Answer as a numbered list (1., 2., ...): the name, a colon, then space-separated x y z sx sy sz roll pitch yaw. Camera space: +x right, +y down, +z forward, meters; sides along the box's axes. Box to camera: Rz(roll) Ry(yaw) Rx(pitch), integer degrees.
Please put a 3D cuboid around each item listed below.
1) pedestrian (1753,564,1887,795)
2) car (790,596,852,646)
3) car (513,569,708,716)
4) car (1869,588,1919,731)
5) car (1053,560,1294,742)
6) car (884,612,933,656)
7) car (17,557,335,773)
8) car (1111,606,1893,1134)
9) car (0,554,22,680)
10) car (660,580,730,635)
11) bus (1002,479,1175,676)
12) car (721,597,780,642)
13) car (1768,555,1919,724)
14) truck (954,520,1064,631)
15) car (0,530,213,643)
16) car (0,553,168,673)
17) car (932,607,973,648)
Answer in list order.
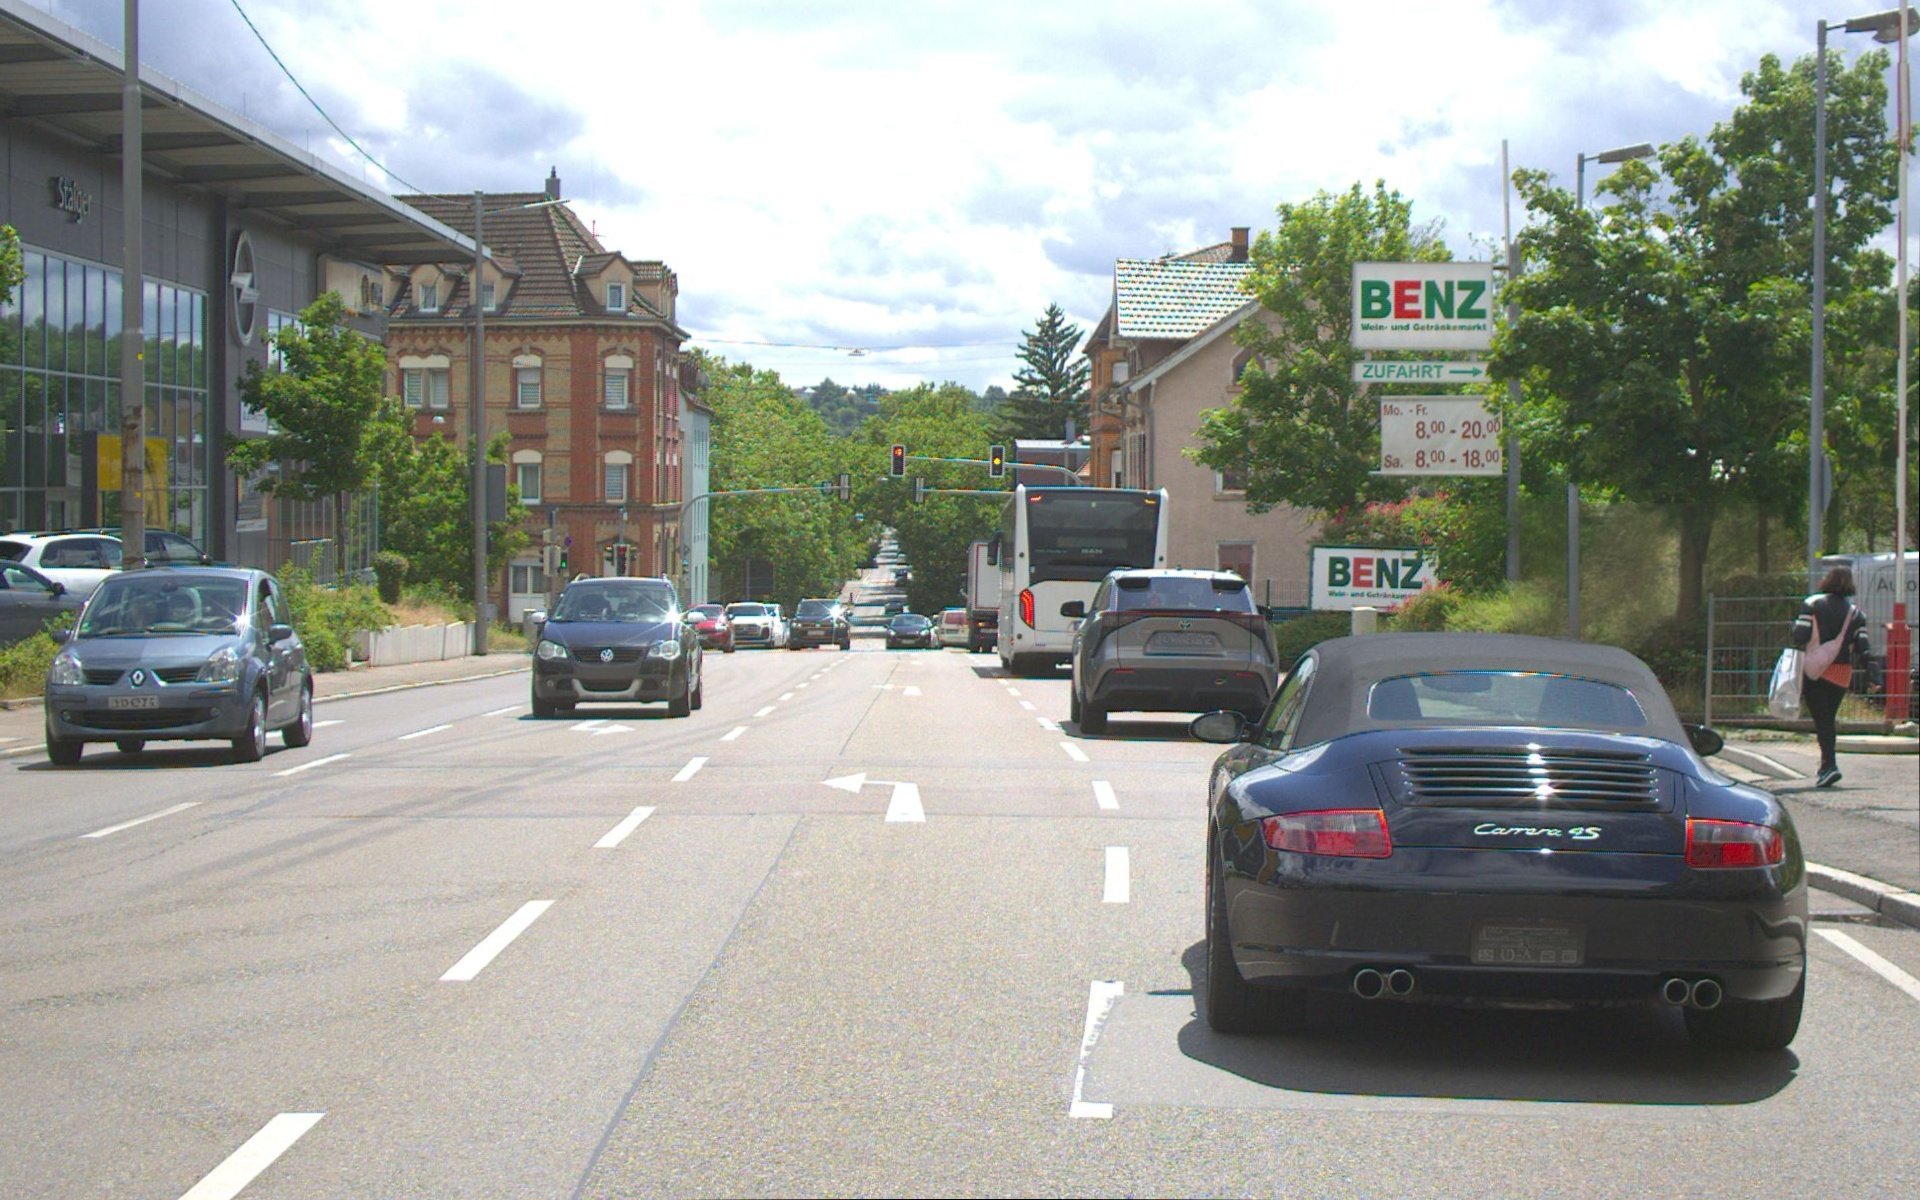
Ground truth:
1. pedestrian: 5.817 0.523 23.294 0.687 1.530 0.856 0 1 0
2. car: -4.379 0.672 108.969 1.864 1.535 4.107 1 0 -1
3. car: -3.754 0.426 37.513 1.829 1.504 4.277 0 0 -2
4. car: 12.078 0.576 36.218 4.432 1.476 2.000 -1 0 -1
5. car: 2.027 0.446 33.797 1.930 1.577 4.209 0 2 -2
6. car: -1.977 1.279 131.727 1.864 1.660 4.259 0 0 -1
7. car: -6.392 0.473 28.453 1.743 1.590 4.043 -2 1 -1
8. car: 1.651 0.783 11.976 1.930 1.372 4.208 1 2 -2
9. car: -13.576 0.221 40.532 4.464 1.504 1.942 0 0 -42
10. car: -7.656 0.212 99.554 1.871 1.486 3.849 -2 0 -3
11. bus: 2.238 -0.588 62.304 2.802 3.187 12.196 1 2 1
12. car: -7.284 0.668 119.644 1.864 1.535 4.107 1 0 -1
13. car: 11.840 0.402 39.046 4.706 1.842 2.089 -1 0 -7
14. truck: 1.374 -0.667 101.148 2.666 3.097 9.036 -1 0 -3
15. car: -13.044 -0.177 50.106 1.933 1.567 4.548 0 0 23
16. car: -12.746 0.161 45.125 1.897 1.445 4.825 2 2 28
17. car: -0.374 1.294 164.231 1.832 1.875 4.000 0 1 -2
